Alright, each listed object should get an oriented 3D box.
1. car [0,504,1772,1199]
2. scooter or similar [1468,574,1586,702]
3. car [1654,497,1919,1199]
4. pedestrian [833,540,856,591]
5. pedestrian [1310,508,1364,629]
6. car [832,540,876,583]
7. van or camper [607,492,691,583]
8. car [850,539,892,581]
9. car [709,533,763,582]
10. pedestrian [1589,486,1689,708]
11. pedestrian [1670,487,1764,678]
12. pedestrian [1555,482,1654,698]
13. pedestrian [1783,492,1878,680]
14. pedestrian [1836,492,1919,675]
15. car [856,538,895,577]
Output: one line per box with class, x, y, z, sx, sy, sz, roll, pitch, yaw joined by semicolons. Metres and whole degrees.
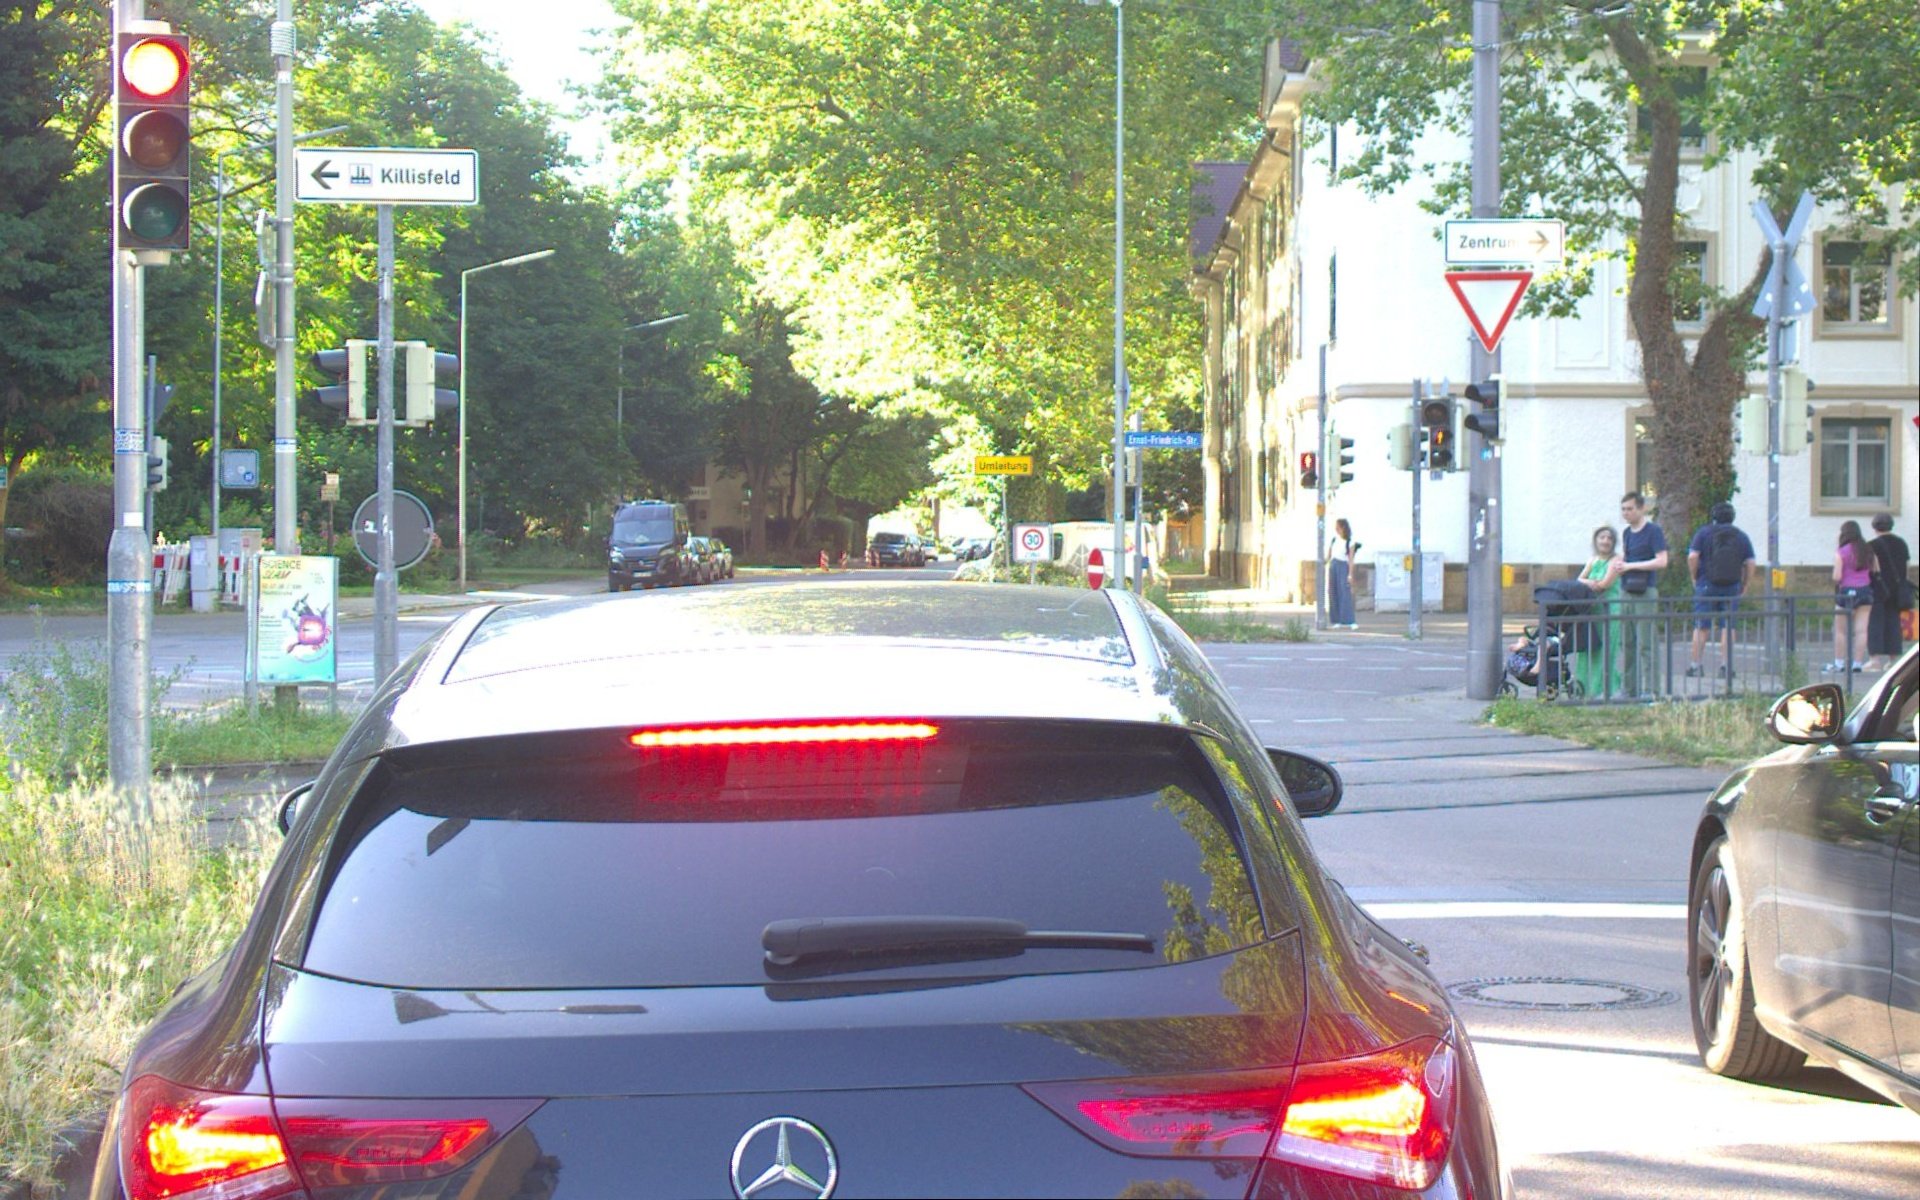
car;-0.137;0.636;5.393;1.889;1.445;4.001;1;3;1
scooter or similar;5.004;0.327;30.387;0.828;1.101;0.809;1;0;-6
car;2.886;0.587;7.322;1.889;1.485;4.382;1;3;0
pedestrian;-4.365;-1.318;130.025;0.705;1.911;0.839;1;0;-10
pedestrian;6.047;-0.510;55.158;0.705;1.911;0.839;1;0;-4
car;-4.480;-1.641;145.561;1.733;1.759;4.019;1;1;-1
van or camper;-8.993;-1.799;99.736;1.993;2.532;4.651;1;1;0
car;-3.877;-1.741;150.381;1.733;1.759;4.019;1;1;-1
car;-8.226;-1.560;126.401;1.733;1.759;3.971;1;1;-1
pedestrian;5.943;-0.031;30.117;0.682;1.911;0.707;1;0;-2
pedestrian;7.702;-0.180;34.997;0.705;1.911;0.839;1;0;-4
pedestrian;5.785;-0.094;30.889;0.682;1.911;0.707;1;0;-4
pedestrian;9.023;-0.149;35.668;0.705;1.911;0.839;1;0;-4
pedestrian;9.834;-0.177;36.667;0.705;1.911;0.839;1;0;-4
car;-3.899;-1.964;158.463;1.733;1.759;4.019;1;1;-1
